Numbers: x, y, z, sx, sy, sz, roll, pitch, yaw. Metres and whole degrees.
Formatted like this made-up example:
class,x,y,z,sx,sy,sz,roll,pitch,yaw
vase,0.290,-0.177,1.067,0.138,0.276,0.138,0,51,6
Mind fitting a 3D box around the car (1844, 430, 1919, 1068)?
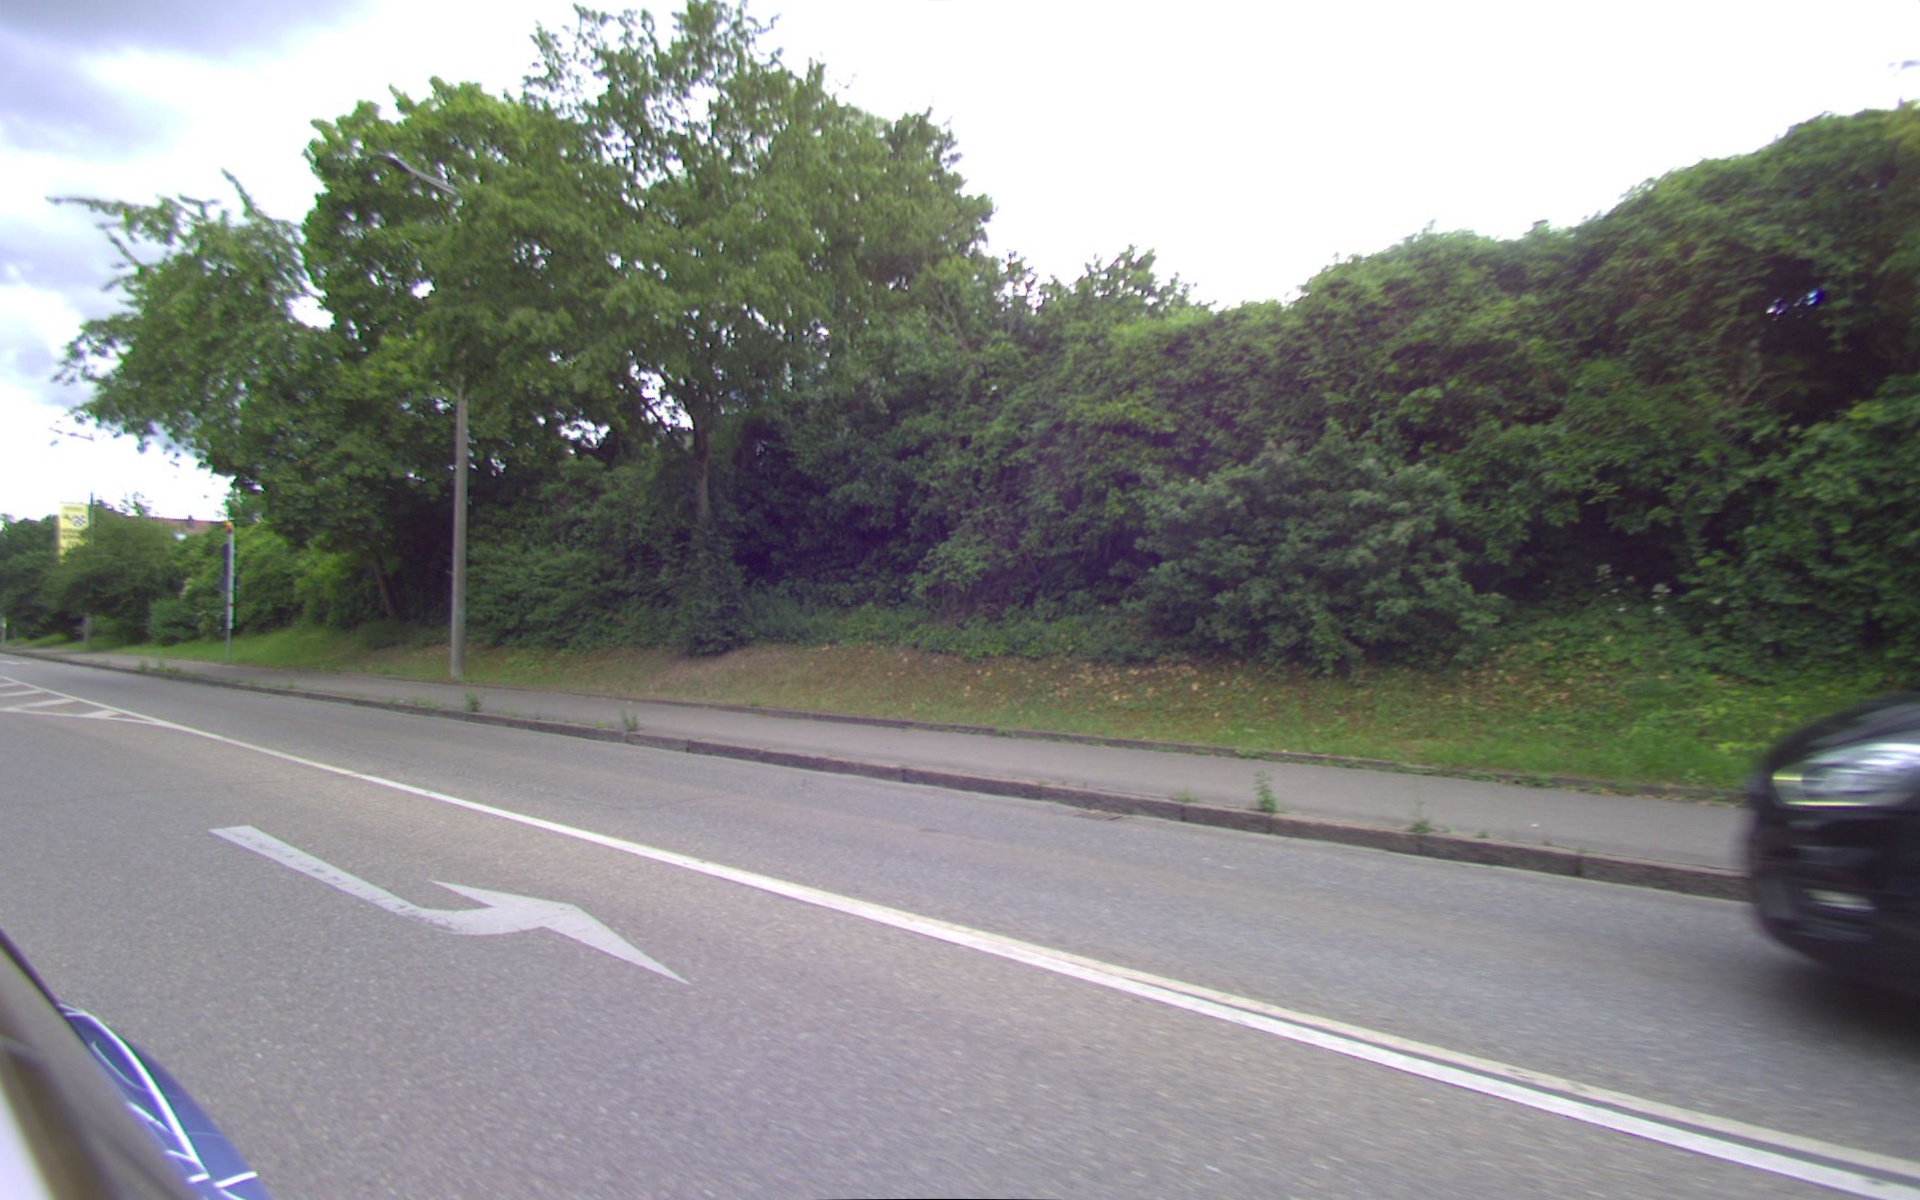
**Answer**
class,x,y,z,sx,sy,sz,roll,pitch,yaw
car,5.635,0.471,2.465,5.110,2.052,1.974,-1,-3,39
